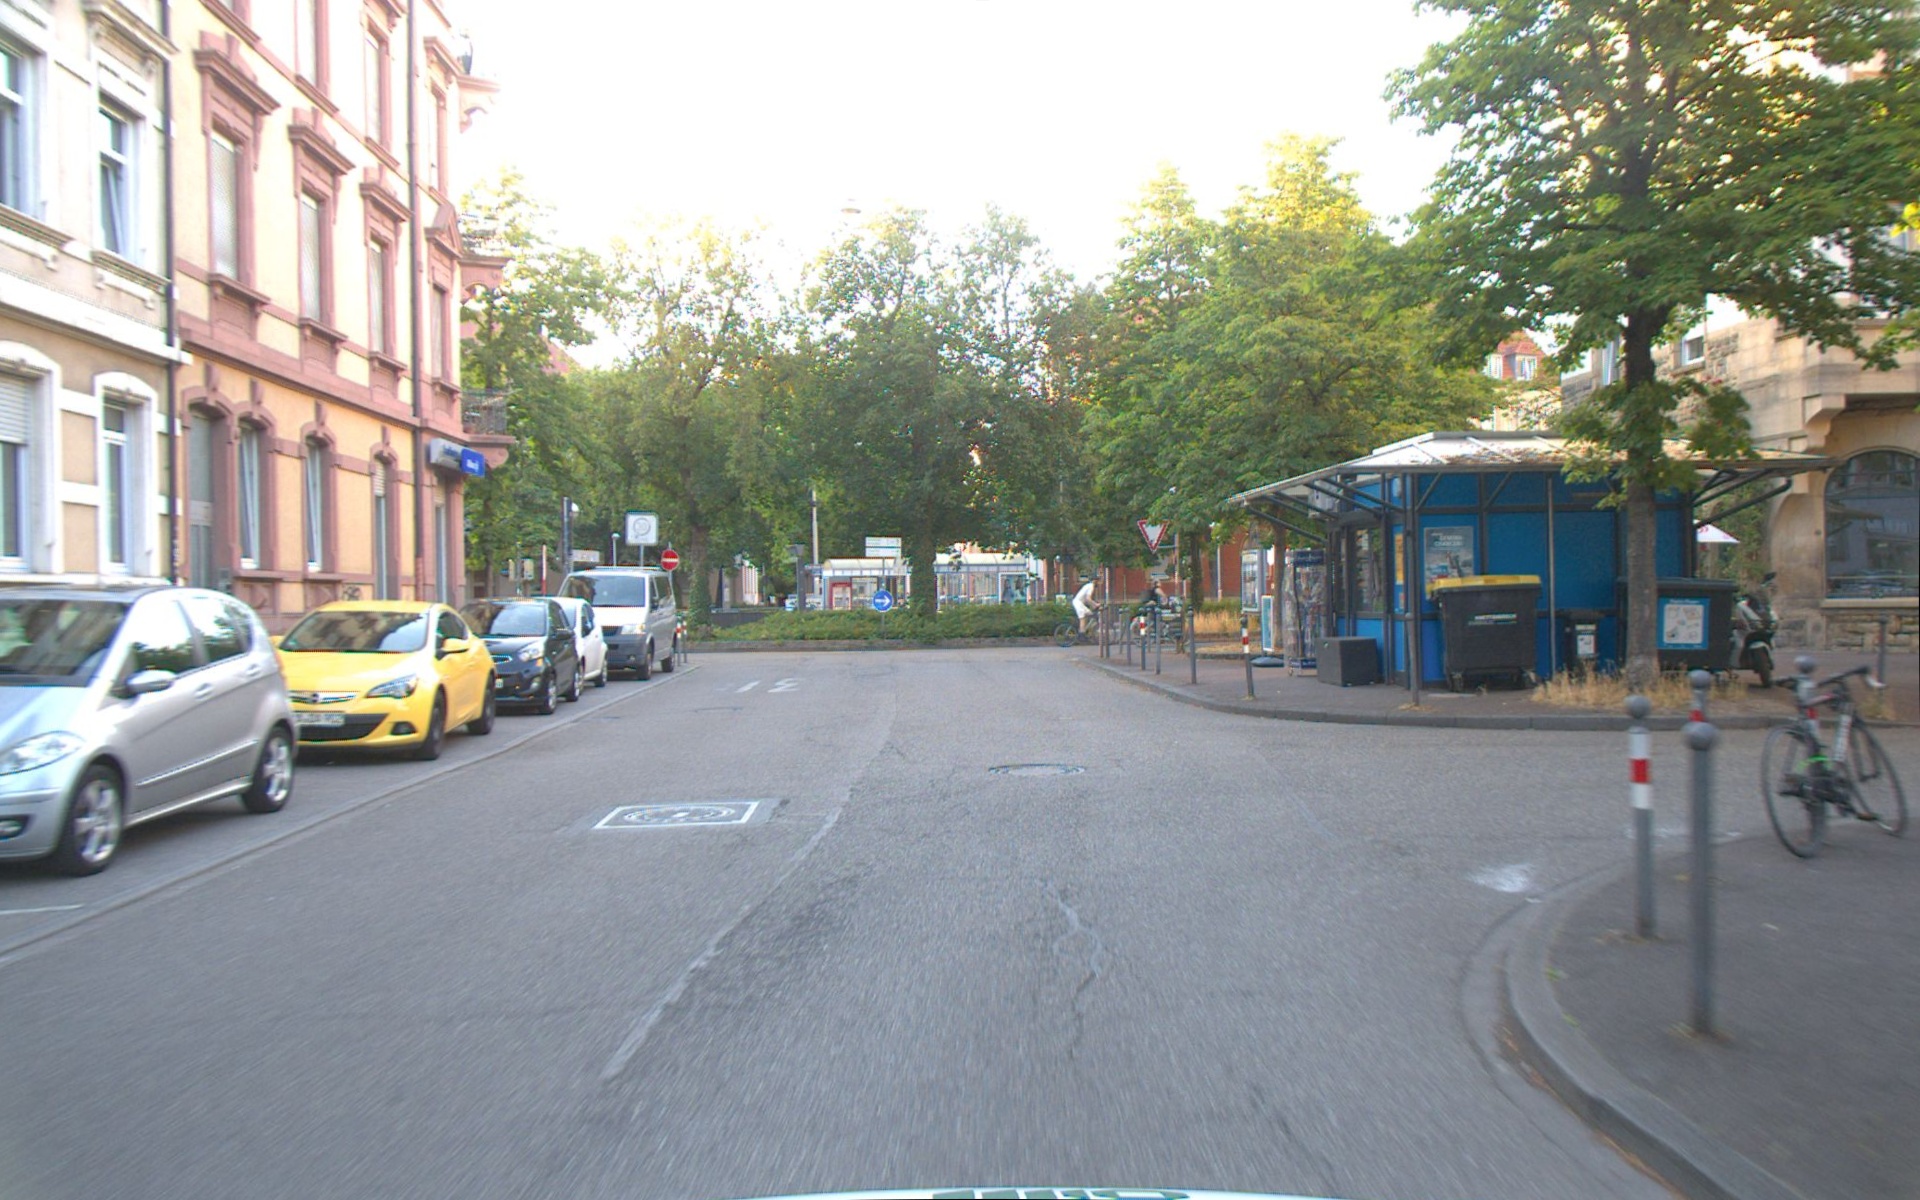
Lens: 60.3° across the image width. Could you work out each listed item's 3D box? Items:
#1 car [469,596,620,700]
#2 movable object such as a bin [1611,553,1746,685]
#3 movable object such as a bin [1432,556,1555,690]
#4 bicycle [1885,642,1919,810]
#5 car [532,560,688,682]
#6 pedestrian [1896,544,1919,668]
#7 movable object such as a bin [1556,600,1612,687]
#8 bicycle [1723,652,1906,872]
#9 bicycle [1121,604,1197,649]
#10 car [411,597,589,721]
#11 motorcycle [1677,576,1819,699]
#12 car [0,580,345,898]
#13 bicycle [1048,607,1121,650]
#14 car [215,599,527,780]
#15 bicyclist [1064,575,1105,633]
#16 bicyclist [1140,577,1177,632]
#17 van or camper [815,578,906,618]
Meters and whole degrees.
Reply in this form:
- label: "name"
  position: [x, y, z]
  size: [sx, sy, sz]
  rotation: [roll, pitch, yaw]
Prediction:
- label: "car"
  position: [-6.541, 0.714, 26.368]
  size: [1.650, 1.517, 3.611]
  rotation: [1, 0, -3]
- label: "movable object such as a bin"
  position: [8.655, 0.217, 19.972]
  size: [1.254, 1.501, 0.820]
  rotation: [3, 1, 6]
- label: "movable object such as a bin"
  position: [6.405, 0.274, 19.902]
  size: [1.196, 1.501, 0.766]
  rotation: [-4, 0, 6]
- label: "bicycle"
  position: [5.970, 0.772, 9.667]
  size: [0.437, 0.996, 1.707]
  rotation: [-1, 0, 10]
- label: "car"
  position: [-6.475, 0.361, 31.184]
  size: [1.999, 2.093, 5.003]
  rotation: [1, 0, -2]
- label: "pedestrian"
  position: [14.527, 0.072, 24.516]
  size: [0.961, 1.820, 1.002]
  rotation: [-2, -1, 37]
- label: "movable object such as a bin"
  position: [7.538, 0.522, 19.993]
  size: [0.470, 1.019, 0.487]
  rotation: [-1, 0, -1]
- label: "bicycle"
  position: [4.667, 0.835, 8.993]
  size: [1.464, 1.058, 0.425]
  rotation: [-1, -1, -44]
- label: "bicycle"
  position: [5.090, 0.671, 42.370]
  size: [1.797, 1.089, 0.706]
  rotation: [-1, 0, -14]
- label: "car"
  position: [-6.077, 0.727, 22.246]
  size: [1.696, 1.517, 3.737]
  rotation: [1, 0, -6]
- label: "motorcycle"
  position: [9.972, 0.450, 21.015]
  size: [0.850, 1.479, 1.881]
  rotation: [-1, 0, -1]
- label: "car"
  position: [-5.559, 0.693, 10.532]
  size: [1.763, 1.620, 4.144]
  rotation: [1, 0, -1]
- label: "bicycle"
  position: [3.312, 0.742, 44.080]
  size: [1.797, 1.089, 0.706]
  rotation: [-1, 0, -13]
- label: "car"
  position: [-5.809, 0.791, 16.975]
  size: [1.803, 1.552, 4.797]
  rotation: [1, 0, -5]
- label: "bicyclist"
  position: [3.310, 0.103, 44.084]
  size: [0.900, 1.529, 0.707]
  rotation: [-1, 0, -12]
- label: "bicyclist"
  position: [5.089, 0.110, 42.381]
  size: [0.723, 1.382, 0.706]
  rotation: [-1, 0, -14]
- label: "van or camper"
  position: [-8.033, -0.172, 133.122]
  size: [7.225, 3.137, 2.669]
  rotation: [0, -1, -7]
